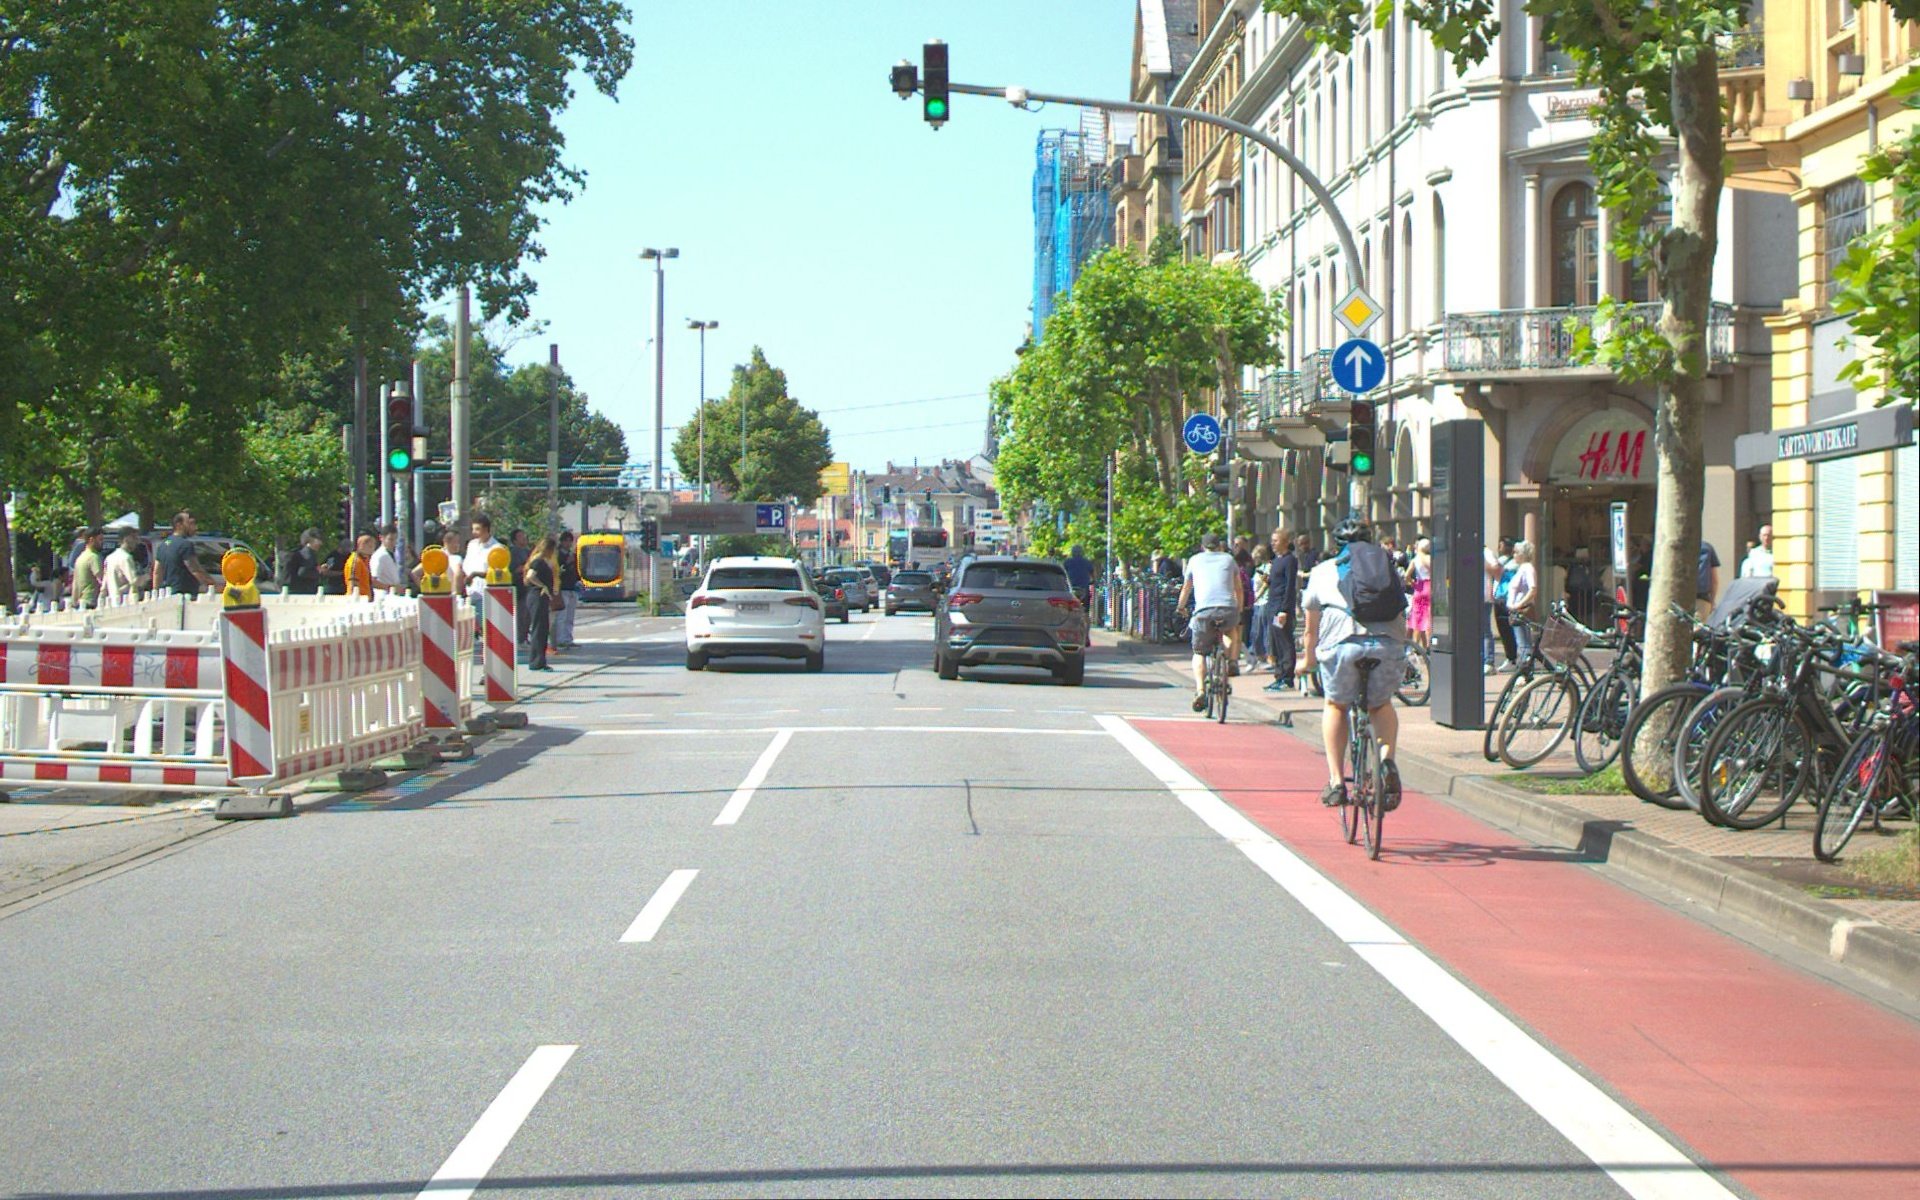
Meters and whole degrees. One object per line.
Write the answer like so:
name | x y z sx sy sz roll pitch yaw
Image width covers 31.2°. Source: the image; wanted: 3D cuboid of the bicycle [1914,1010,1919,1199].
bicycle | 2.384 0.915 6.021 0.698 1.123 2.082 2 1 -4

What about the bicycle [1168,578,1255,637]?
bicycle | 4.250 0.125 58.105 1.420 0.976 0.445 -1 1 0

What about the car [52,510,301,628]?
car | -13.410 -0.526 59.136 1.861 1.948 4.756 0 0 20

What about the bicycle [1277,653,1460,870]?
bicycle | 2.065 0.794 17.600 0.630 0.976 2.089 0 1 -1

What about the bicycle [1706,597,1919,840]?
bicycle | 4.658 0.593 17.406 1.649 1.197 0.474 1 1 2

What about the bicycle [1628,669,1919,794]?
bicycle | 5.068 0.792 21.049 1.843 0.713 0.659 0 1 -21

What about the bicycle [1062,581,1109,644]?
bicycle | 2.040 0.198 56.050 0.647 0.994 2.031 0 1 -1

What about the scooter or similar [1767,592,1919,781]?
scooter or similar | 5.786 0.544 22.331 0.420 1.174 1.232 0 1 -21

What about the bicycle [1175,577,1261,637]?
bicycle | 4.396 0.117 58.567 1.420 0.976 0.445 -1 1 0

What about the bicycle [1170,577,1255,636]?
bicycle | 4.372 0.107 59.515 1.420 0.976 0.445 -1 1 0

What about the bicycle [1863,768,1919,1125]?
bicycle | 2.882 0.939 8.593 0.600 0.922 2.088 0 0 -3

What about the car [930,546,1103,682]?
car | 0.656 0.137 42.886 1.845 1.554 4.001 2 1 -3

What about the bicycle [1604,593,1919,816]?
bicycle | 4.564 0.573 19.131 1.844 1.197 0.608 1 1 2

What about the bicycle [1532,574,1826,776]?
bicycle | 4.798 0.488 22.947 1.820 1.304 0.689 0 1 -20

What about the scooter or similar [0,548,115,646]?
scooter or similar | -13.235 -0.044 50.426 1.278 1.416 1.037 0 0 30

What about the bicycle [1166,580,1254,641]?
bicycle | 4.164 0.169 57.283 1.420 0.976 0.445 -1 1 0

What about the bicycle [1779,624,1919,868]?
bicycle | 4.682 0.671 15.884 1.649 1.091 0.607 1 1 2

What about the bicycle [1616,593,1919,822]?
bicycle | 4.534 0.574 18.624 1.844 1.197 0.545 1 1 2

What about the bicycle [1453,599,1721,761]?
bicycle | 4.447 0.561 24.425 1.781 1.118 0.563 0 1 -3

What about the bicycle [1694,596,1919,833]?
bicycle | 4.781 0.590 17.820 1.844 1.197 0.474 1 1 2

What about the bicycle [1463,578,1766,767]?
bicycle | 4.482 0.483 23.543 1.932 1.253 0.705 0 1 -20

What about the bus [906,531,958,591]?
bus | -1.755 -2.368 212.399 2.994 3.582 11.745 0 0 -1

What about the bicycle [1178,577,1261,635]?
bicycle | 4.523 0.100 59.951 1.420 0.976 0.401 -1 1 0

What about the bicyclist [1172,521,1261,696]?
bicyclist | 2.416 0.073 32.488 0.774 1.629 0.851 0 1 0

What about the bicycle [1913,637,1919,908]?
bicycle | 4.744 0.711 13.672 1.728 1.091 0.607 1 1 2

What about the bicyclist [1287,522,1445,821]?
bicyclist | 2.066 0.344 17.622 0.630 1.476 1.198 0 1 -1

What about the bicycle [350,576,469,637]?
bicycle | -9.952 0.115 62.154 2.081 1.086 0.685 0 0 -12

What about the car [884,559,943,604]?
car | -1.531 -0.608 110.790 1.845 1.409 4.000 0 1 -1

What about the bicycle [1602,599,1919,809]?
bicycle | 4.674 0.589 19.762 1.844 1.160 0.659 1 1 2

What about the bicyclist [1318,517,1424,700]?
bicyclist | 4.113 0.077 34.404 0.573 1.791 0.857 -3 1 -35

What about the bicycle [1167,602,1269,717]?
bicycle | 2.420 0.540 32.514 0.774 1.002 2.329 0 1 0

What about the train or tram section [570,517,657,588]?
train or tram section | -16.843 -2.314 167.793 2.613 3.337 11.001 1 1 3

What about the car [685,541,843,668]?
car | -2.501 0.024 44.764 1.845 1.554 4.000 -1 1 0

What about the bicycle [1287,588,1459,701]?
bicycle | 4.121 0.436 34.412 0.600 1.078 1.839 -3 1 -35

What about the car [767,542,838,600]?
car | -4.268 -0.805 93.861 1.845 1.554 4.000 0 1 -1
